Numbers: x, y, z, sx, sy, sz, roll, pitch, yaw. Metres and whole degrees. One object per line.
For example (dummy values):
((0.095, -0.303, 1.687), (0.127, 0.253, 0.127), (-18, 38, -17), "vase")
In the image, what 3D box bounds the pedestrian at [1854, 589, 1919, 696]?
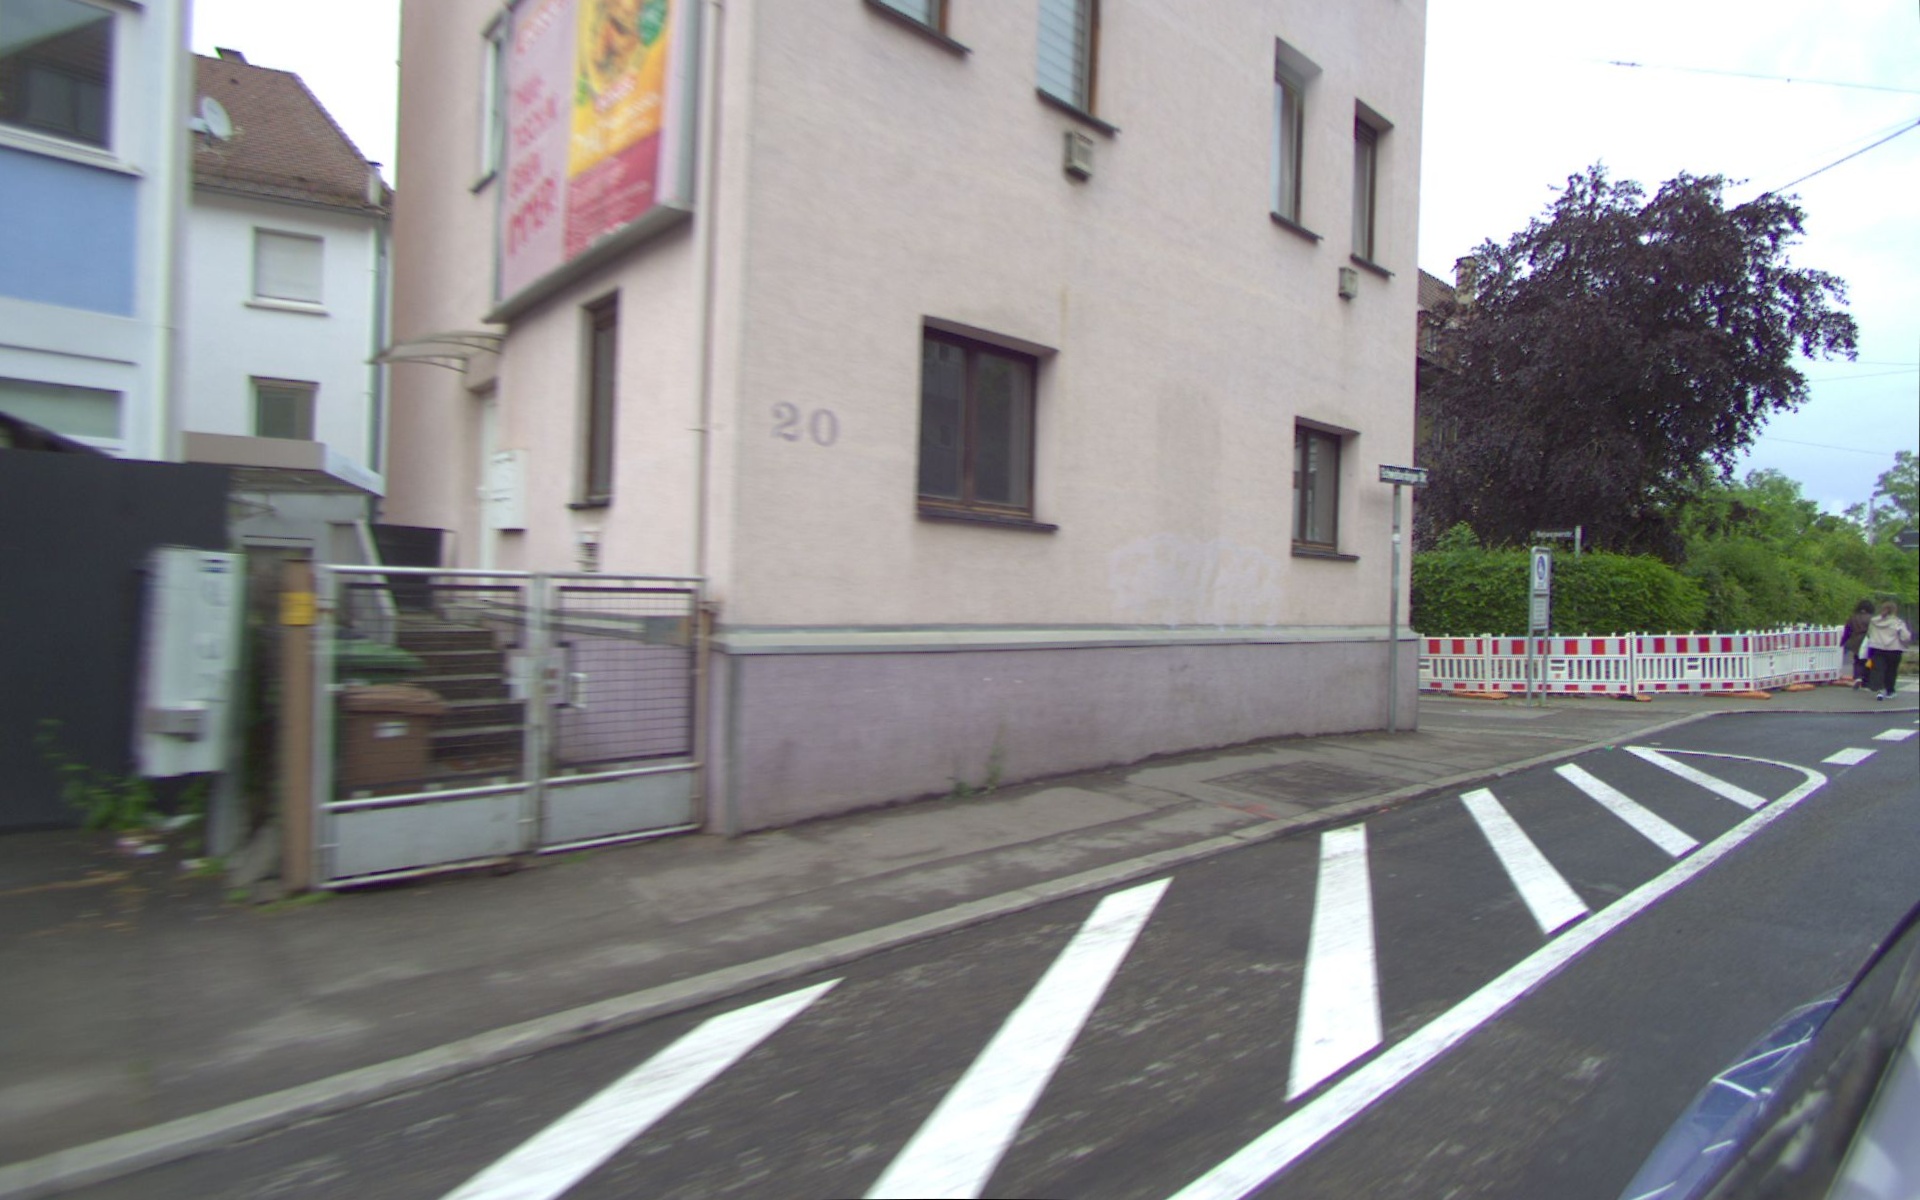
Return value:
((15.158, 0.654, 16.407), (1.199, 1.662, 0.786), (0, 0, -37), "pedestrian")

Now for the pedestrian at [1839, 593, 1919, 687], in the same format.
((16.190, 0.671, 17.824), (1.030, 1.580, 0.877), (0, 0, -37), "pedestrian")
